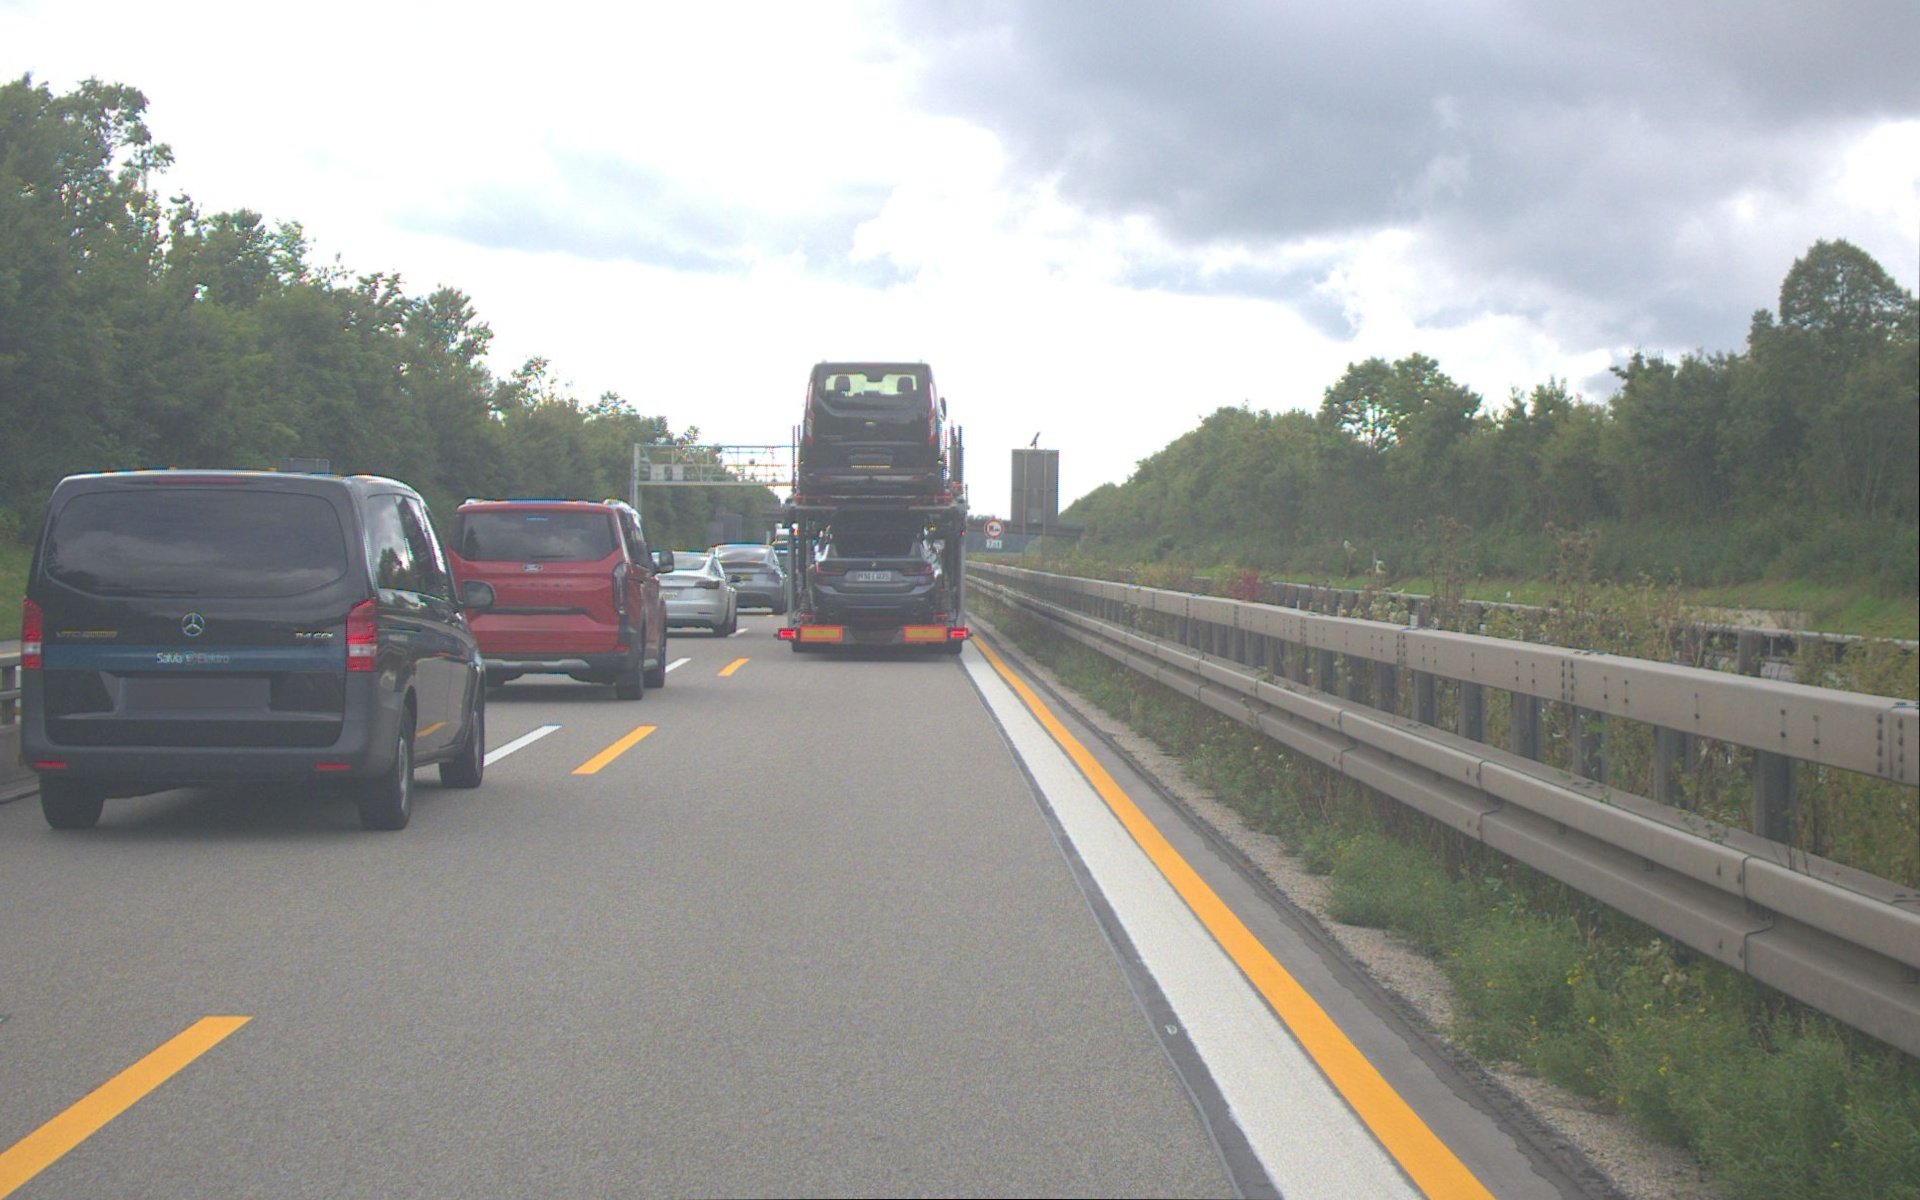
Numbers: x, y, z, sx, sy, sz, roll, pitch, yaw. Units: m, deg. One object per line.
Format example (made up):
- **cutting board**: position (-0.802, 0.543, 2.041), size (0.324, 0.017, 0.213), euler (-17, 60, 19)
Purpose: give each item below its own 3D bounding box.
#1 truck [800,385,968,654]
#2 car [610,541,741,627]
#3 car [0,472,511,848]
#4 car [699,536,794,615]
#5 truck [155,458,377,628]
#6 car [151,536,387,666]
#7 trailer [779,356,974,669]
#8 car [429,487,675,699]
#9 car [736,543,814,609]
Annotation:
- **truck**: position (-1.187, -1.271, 55.568), size (2.515, 4.091, 5.685), euler (1, 1, 0)
- **car**: position (-4.900, -0.293, 59.731), size (2.031, 1.426, 4.578), euler (0, 1, -2)
- **car**: position (-3.879, 0.257, 19.633), size (1.993, 1.837, 5.610), euler (0, 1, -1)
- **car**: position (-4.911, -0.580, 79.688), size (2.031, 1.751, 4.578), euler (0, 1, -2)
- **truck**: position (-11.761, -0.968, 58.769), size (2.490, 2.708, 6.667), euler (1, 1, -1)
- **car**: position (-8.540, -0.025, 42.902), size (1.993, 1.502, 4.832), euler (1, 1, -1)
- **trailer**: position (-1.144, -1.219, 50.835), size (2.515, 4.091, 11.114), euler (1, 1, 0)
- **car**: position (-4.077, -0.096, 35.027), size (2.031, 2.007, 4.578), euler (0, 1, -1)
- **car**: position (-5.021, -0.680, 93.959), size (2.031, 1.751, 4.578), euler (0, 1, -2)
